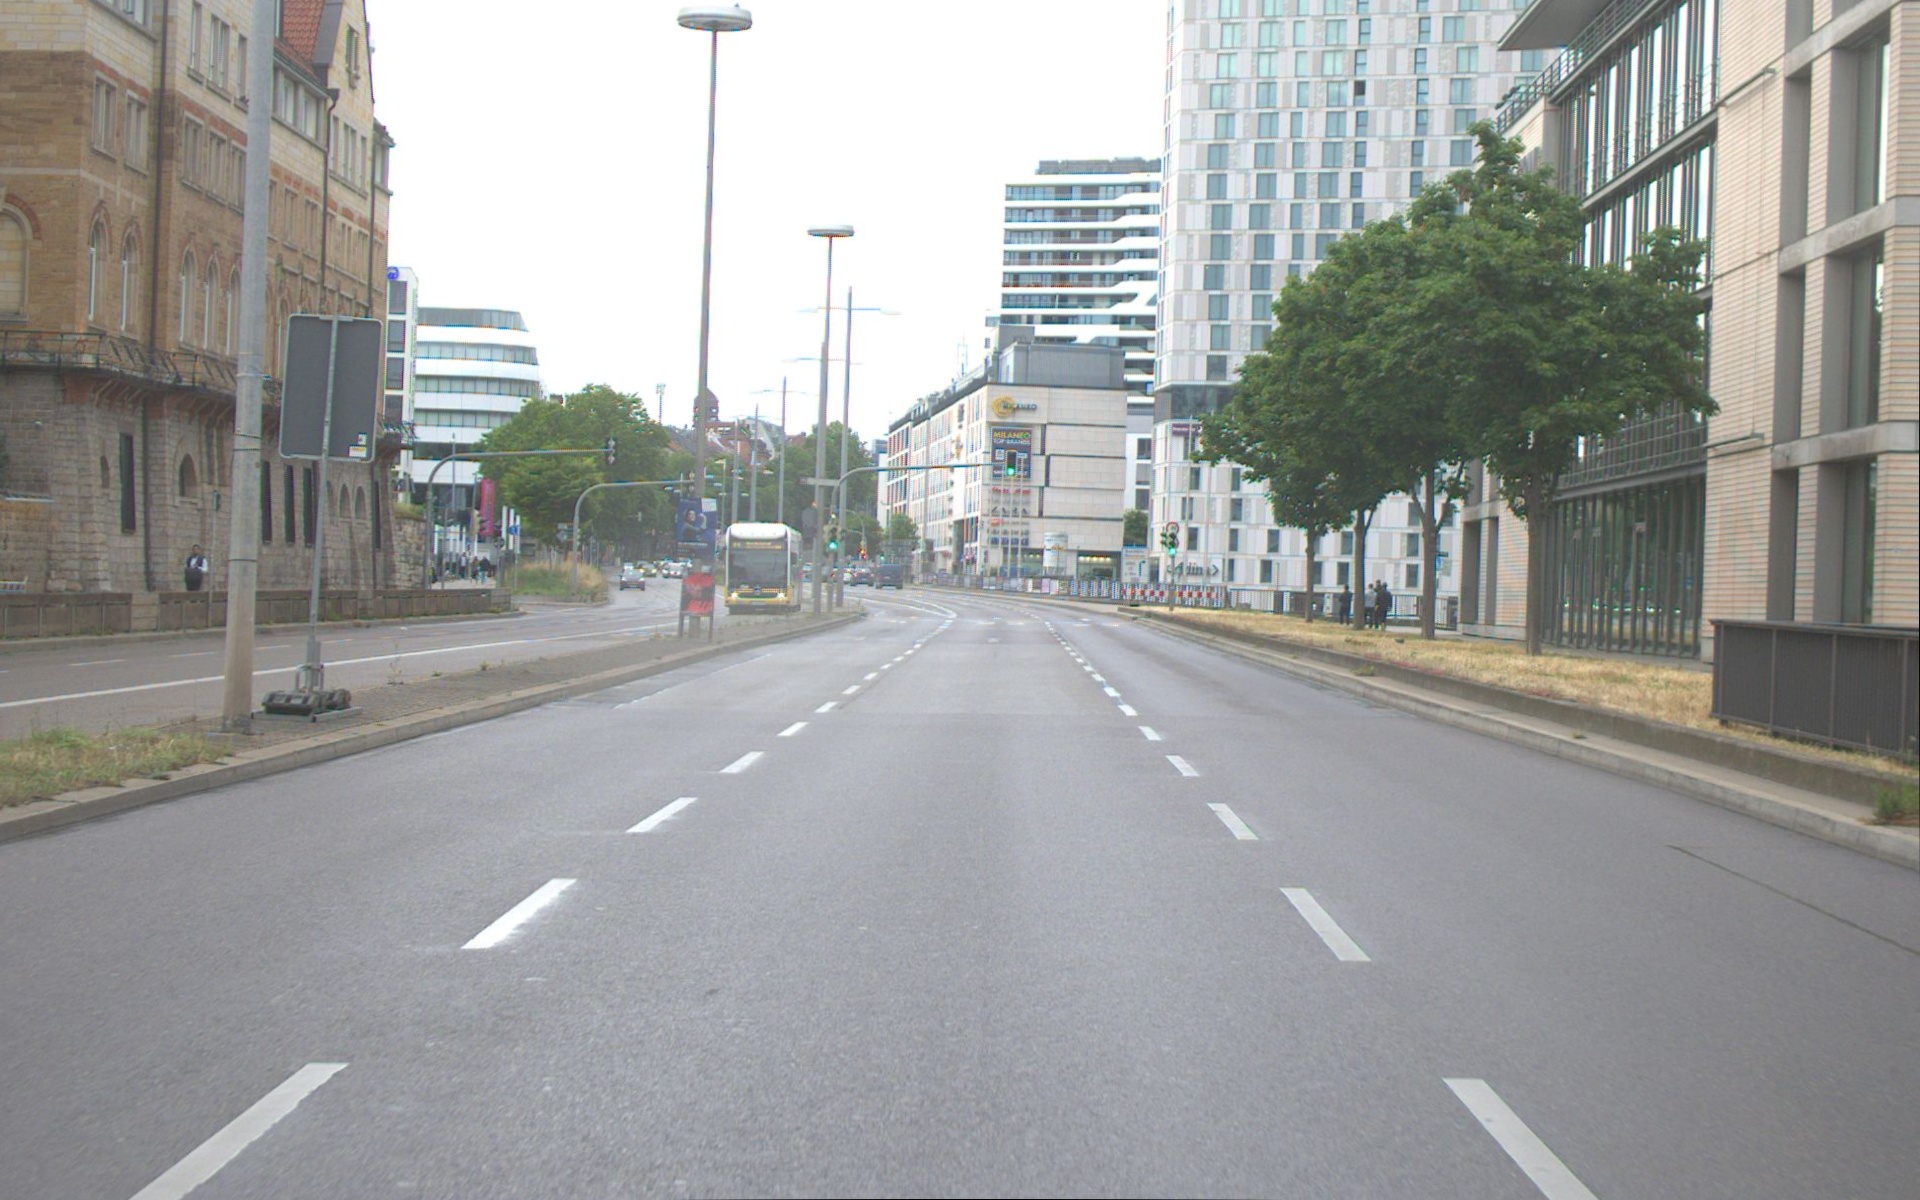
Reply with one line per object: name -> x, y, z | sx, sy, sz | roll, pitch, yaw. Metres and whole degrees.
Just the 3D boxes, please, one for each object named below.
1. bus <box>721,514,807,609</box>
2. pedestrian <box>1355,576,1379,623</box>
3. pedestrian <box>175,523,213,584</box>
bus -> -7.574, -1.497, 133.773 | 2.698, 3.547, 10.094 | 1, 1, 0
pedestrian -> 13.835, -0.006, 116.835 | 0.550, 1.572, 0.669 | 2, 2, 35
pedestrian -> -18.662, -1.132, 83.727 | 0.754, 1.472, 0.714 | 1, 2, 0
